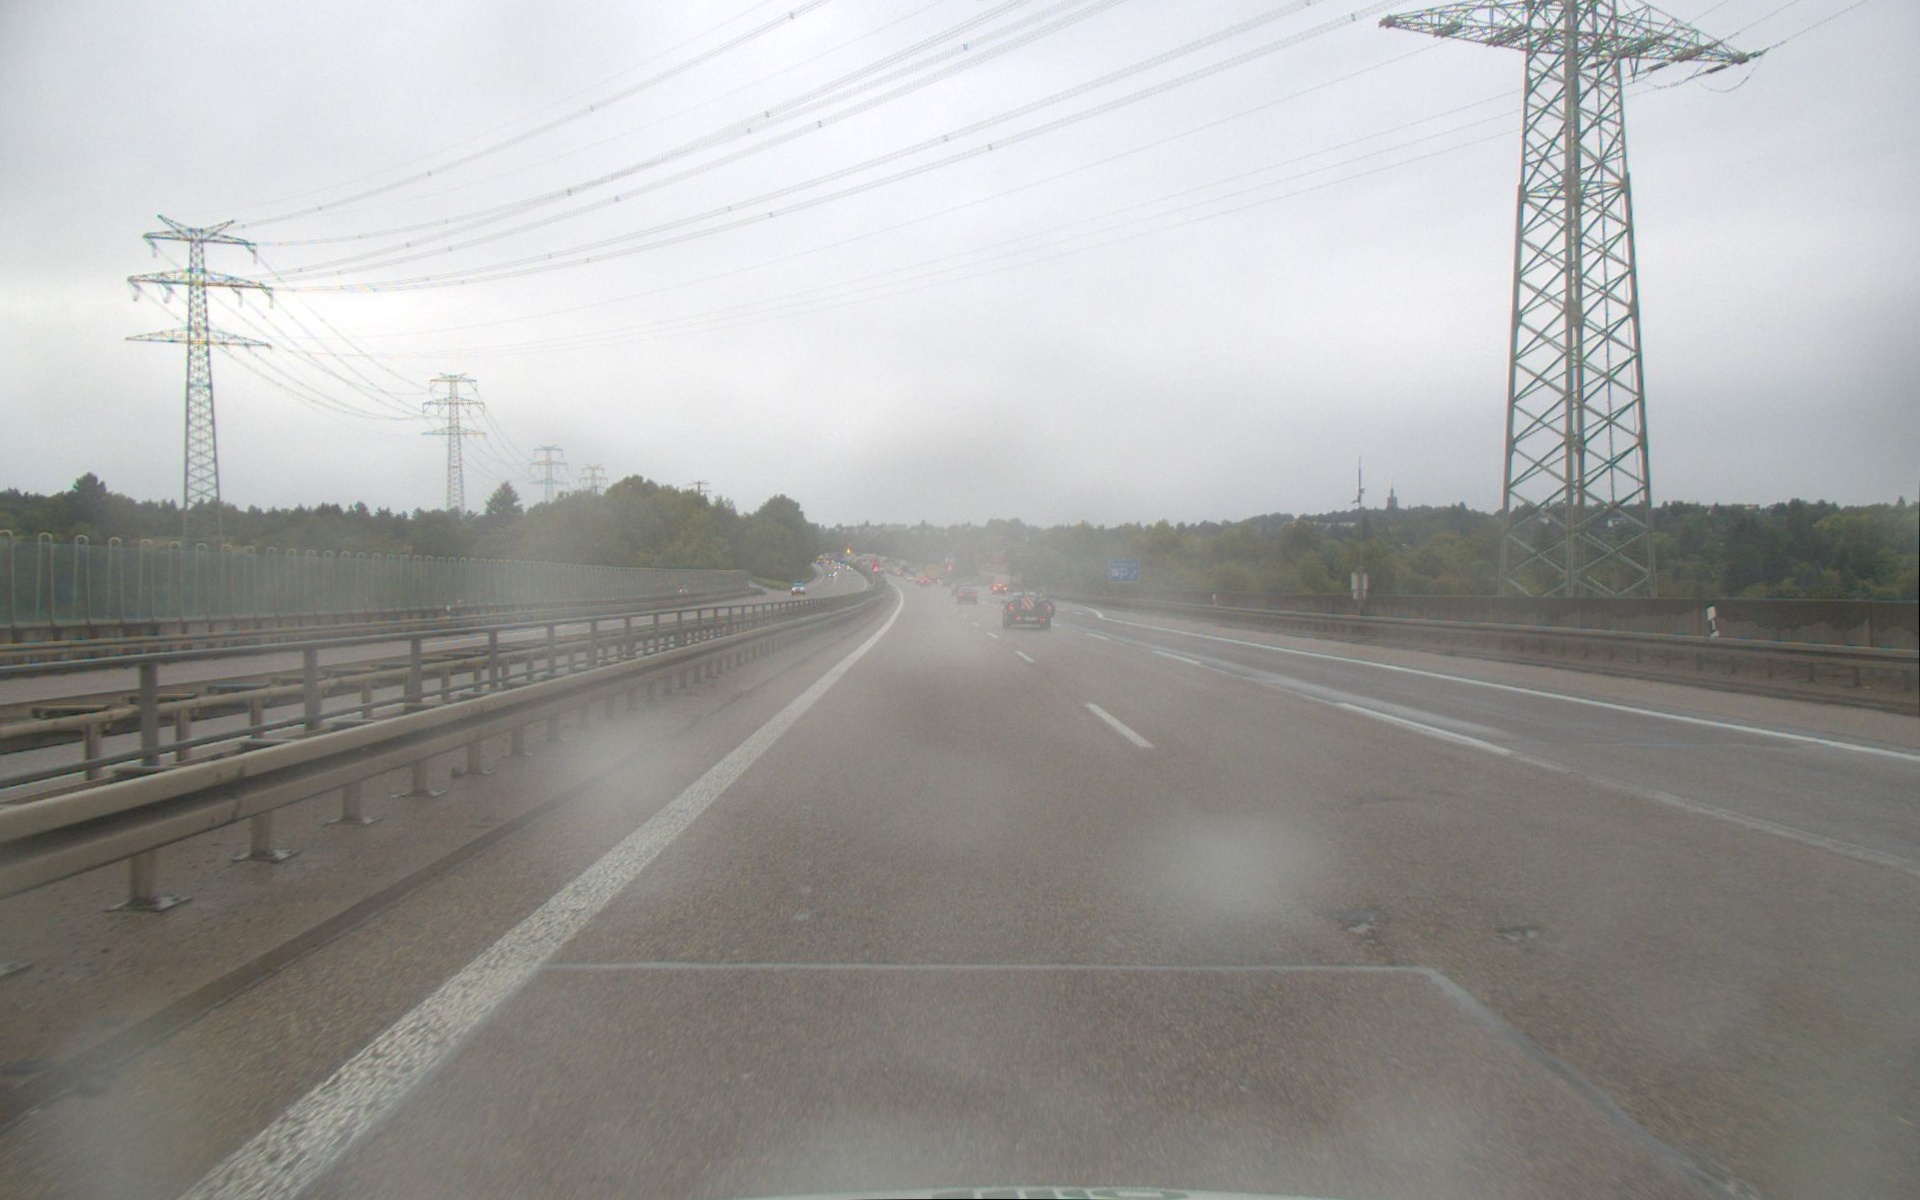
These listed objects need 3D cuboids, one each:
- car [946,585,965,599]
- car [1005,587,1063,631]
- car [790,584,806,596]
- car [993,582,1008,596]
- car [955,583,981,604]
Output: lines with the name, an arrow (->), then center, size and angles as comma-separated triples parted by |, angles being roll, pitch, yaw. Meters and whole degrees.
car -> -0.543, -0.985, 201.669 | 1.954, 1.656, 3.997 | -1, 1, -4
car -> 2.934, 0.324, 66.684 | 2.016, 1.700, 5.521 | 1, 0, -1
car -> -23.110, -1.439, 235.727 | 1.953, 1.658, 4.712 | -1, 1, -2
car -> 5.327, -1.397, 217.231 | 1.882, 1.739, 4.002 | -1, 1, 2
car -> 0.697, -0.593, 145.477 | 1.954, 1.791, 3.997 | -1, 1, -4
